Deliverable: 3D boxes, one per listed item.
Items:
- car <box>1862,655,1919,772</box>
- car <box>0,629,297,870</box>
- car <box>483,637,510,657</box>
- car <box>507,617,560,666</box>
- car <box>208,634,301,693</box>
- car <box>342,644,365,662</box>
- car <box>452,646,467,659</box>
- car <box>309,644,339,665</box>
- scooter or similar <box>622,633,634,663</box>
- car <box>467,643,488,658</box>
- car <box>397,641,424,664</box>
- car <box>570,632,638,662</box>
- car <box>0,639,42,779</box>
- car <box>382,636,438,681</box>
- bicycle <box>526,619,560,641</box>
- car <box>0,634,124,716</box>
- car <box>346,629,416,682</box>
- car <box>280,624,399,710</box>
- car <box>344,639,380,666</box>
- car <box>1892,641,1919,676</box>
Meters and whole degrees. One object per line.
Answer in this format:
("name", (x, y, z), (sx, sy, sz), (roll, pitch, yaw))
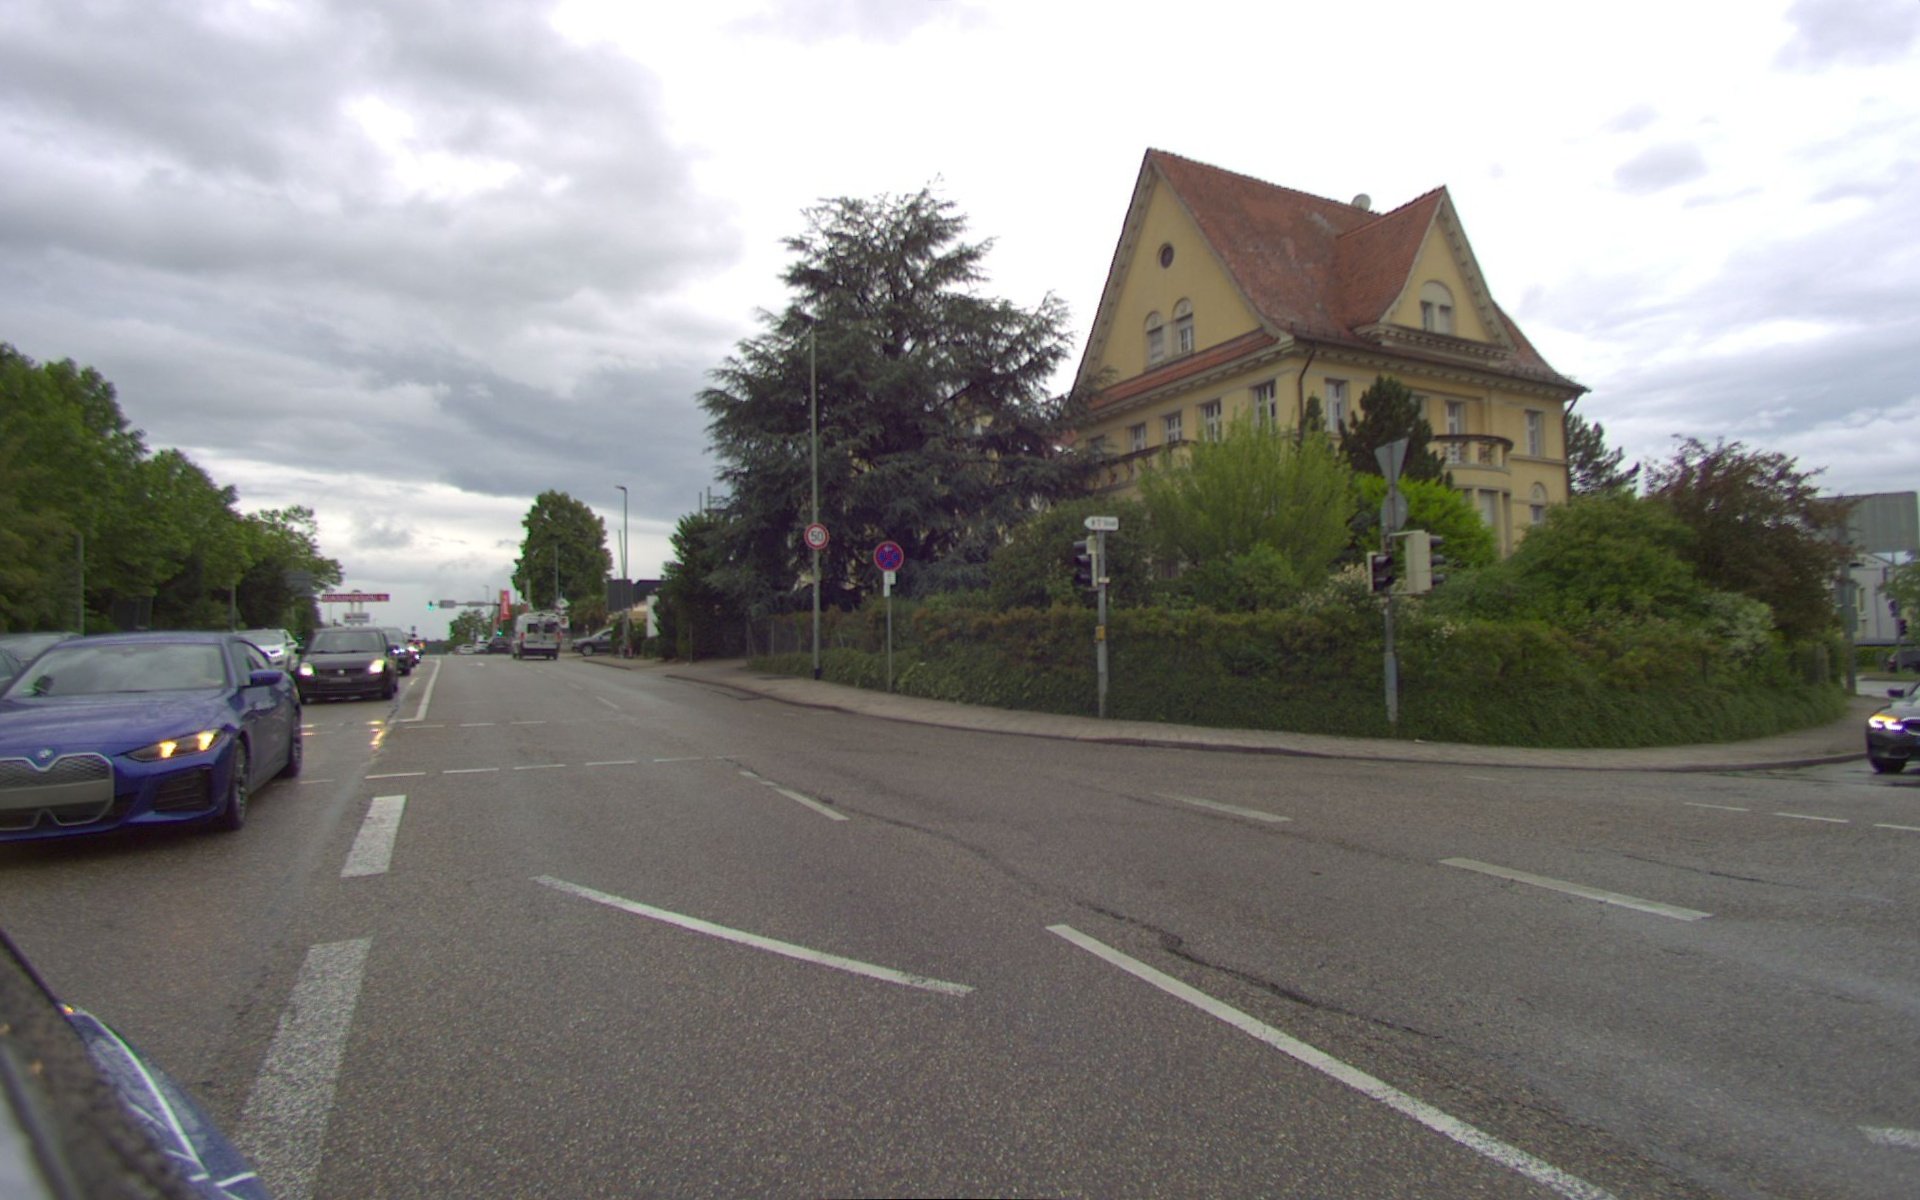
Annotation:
("car", (13.638, 1.441, 13.089), (4.360, 1.404, 1.781), (3, -5, -33))
("car", (-6.585, 0.964, 8.031), (1.774, 1.418, 4.286), (0, -1, -27))
("car", (-38.108, 3.825, 83.165), (1.751, 1.513, 4.486), (0, -1, -27))
("car", (-23.814, 2.270, 56.434), (2.265, 2.547, 5.792), (0, -1, -27))
("car", (-22.838, 1.996, 32.906), (1.946, 1.634, 3.854), (-3, 0, -27))
("car", (-62.828, 5.479, 104.888), (1.966, 1.691, 4.012), (0, -1, -31))
("car", (-68.386, 7.135, 138.181), (1.675, 1.611, 3.561), (0, -1, -29))
("car", (-54.849, 4.663, 87.308), (1.786, 1.630, 3.921), (-3, 0, -28))
("scooter or similar", (-15.989, 2.282, 48.727), (0.497, 1.416, 1.886), (0, -2, -17))
("car", (-48.456, 5.090, 101.642), (1.721, 1.407, 3.814), (0, -1, -28))
("car", (-48.609, 4.629, 89.575), (1.897, 1.731, 4.112), (-4, 0, -27))
("car", (-21.582, 2.835, 61.364), (3.866, 1.664, 1.724), (0, -2, -21))
("car", (-10.683, 1.162, 9.855), (1.766, 1.470, 4.733), (0, -1, -32))
("car", (-23.463, 2.434, 43.278), (1.896, 1.731, 4.112), (-2, -1, -27))
("bicycle", (-22.165, 1.583, 53.783), (1.613, 1.134, 0.469), (2, -3, -27))
("car", (-20.813, 1.653, 23.314), (1.677, 1.634, 3.854), (-3, 0, -30))
("car", (-18.676, 1.755, 32.773), (1.777, 1.564, 4.013), (0, -1, -27))
("car", (-12.828, 1.347, 21.149), (1.777, 1.564, 4.236), (0, -2, -27))
("car", (-39.004, 3.380, 66.030), (1.798, 1.634, 3.854), (0, -2, -27))
("car", (55.563, 3.309, 57.093), (4.066, 1.910, 1.710), (-2, -1, 32))
